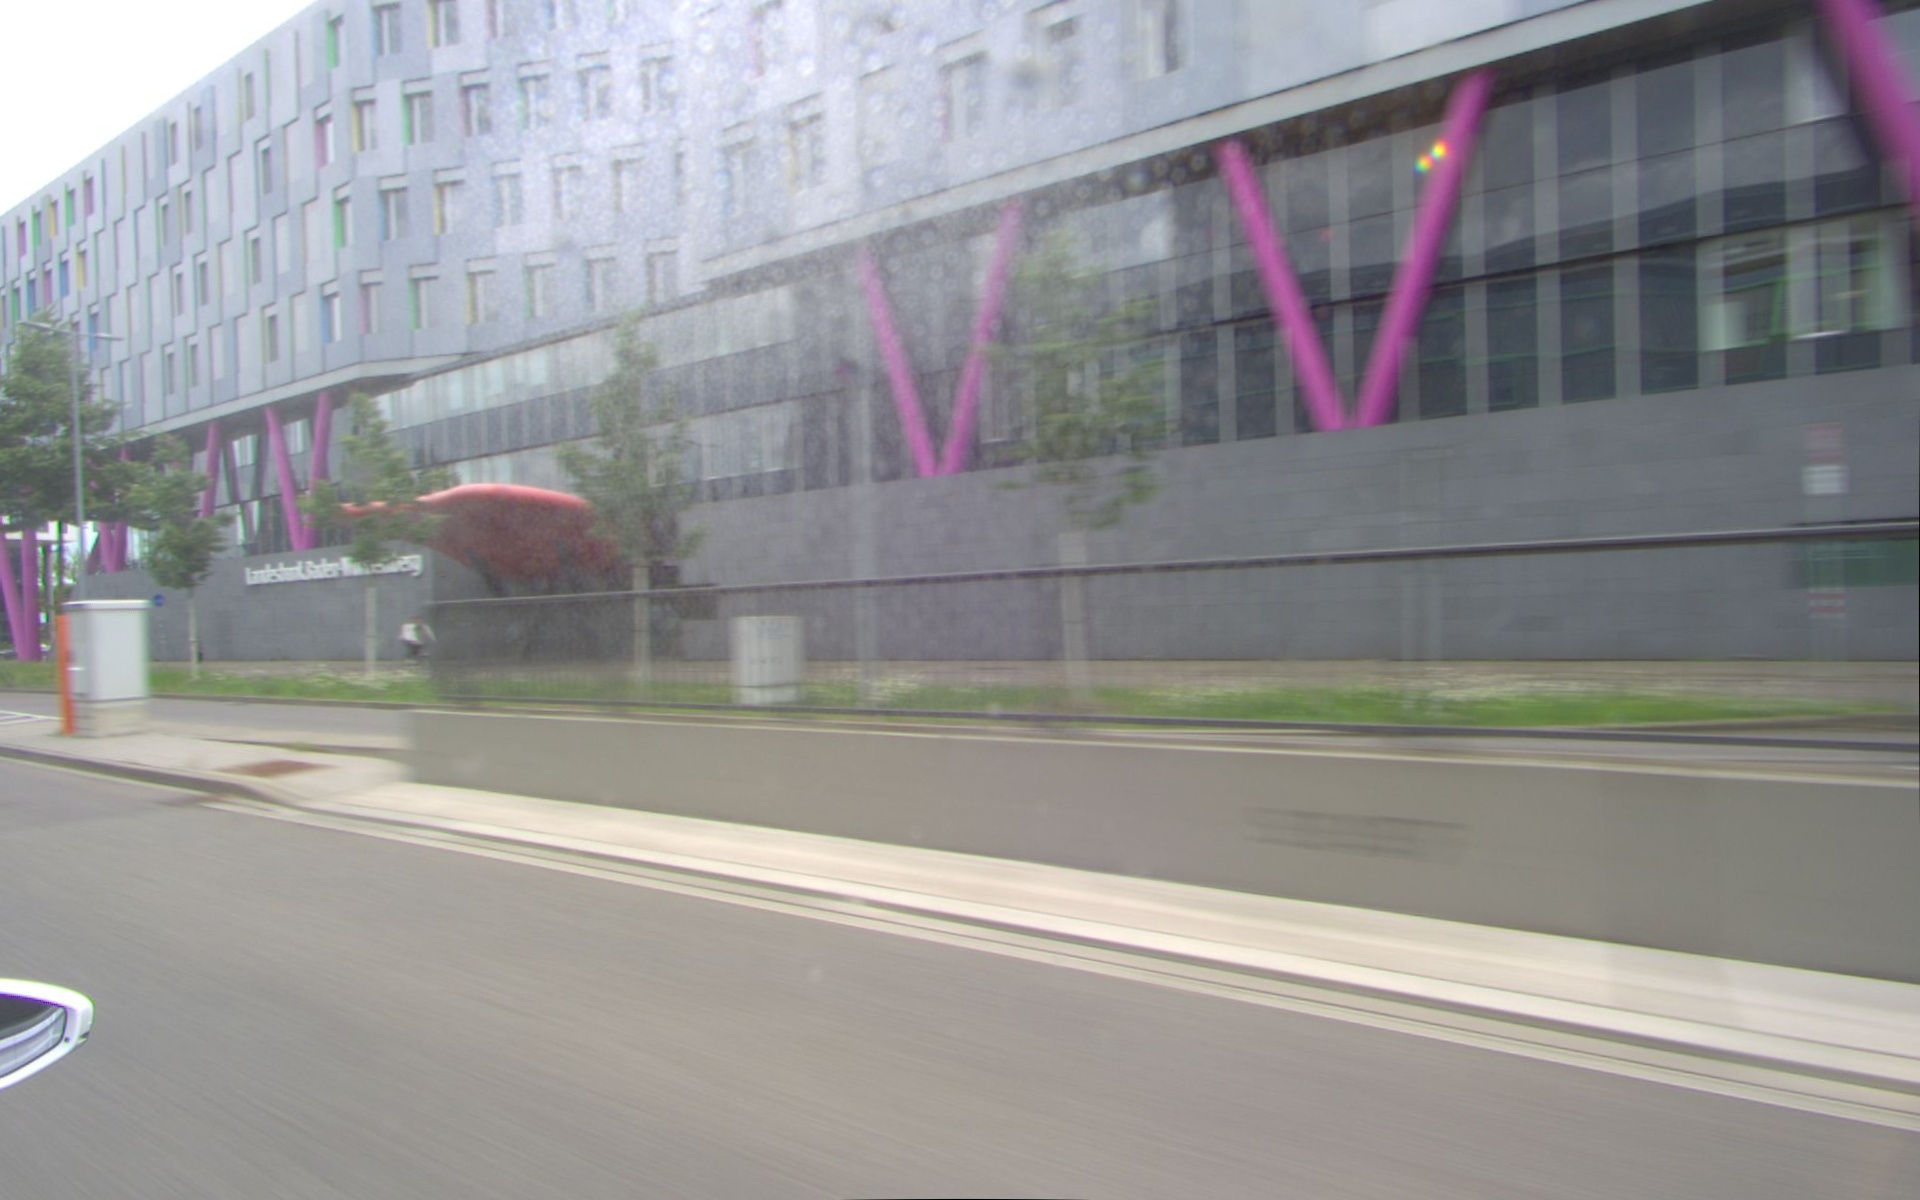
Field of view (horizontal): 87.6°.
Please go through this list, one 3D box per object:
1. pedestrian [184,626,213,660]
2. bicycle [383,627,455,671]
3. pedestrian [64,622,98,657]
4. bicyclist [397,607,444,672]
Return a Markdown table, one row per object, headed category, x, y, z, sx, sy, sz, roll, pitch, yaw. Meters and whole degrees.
| category | x | y | z | sx | sy | sz | roll | pitch | yaw |
| --- | --- | --- | --- | --- | --- | --- | --- | --- | --- |
| pedestrian | -36.098 | 2.038 | 47.471 | 0.902 | 1.604 | 0.782 | -1 | 1 | 33 |
| bicycle | -15.530 | 1.391 | 28.738 | 2.188 | 1.210 | 0.782 | -1 | 0 | 30 |
| pedestrian | -46.564 | 2.092 | 53.053 | 1.121 | 1.794 | 1.049 | -1 | 0 | 33 |
| bicyclist | -15.462 | 1.123 | 28.689 | 0.959 | 1.810 | 0.769 | -1 | 0 | 30 |
